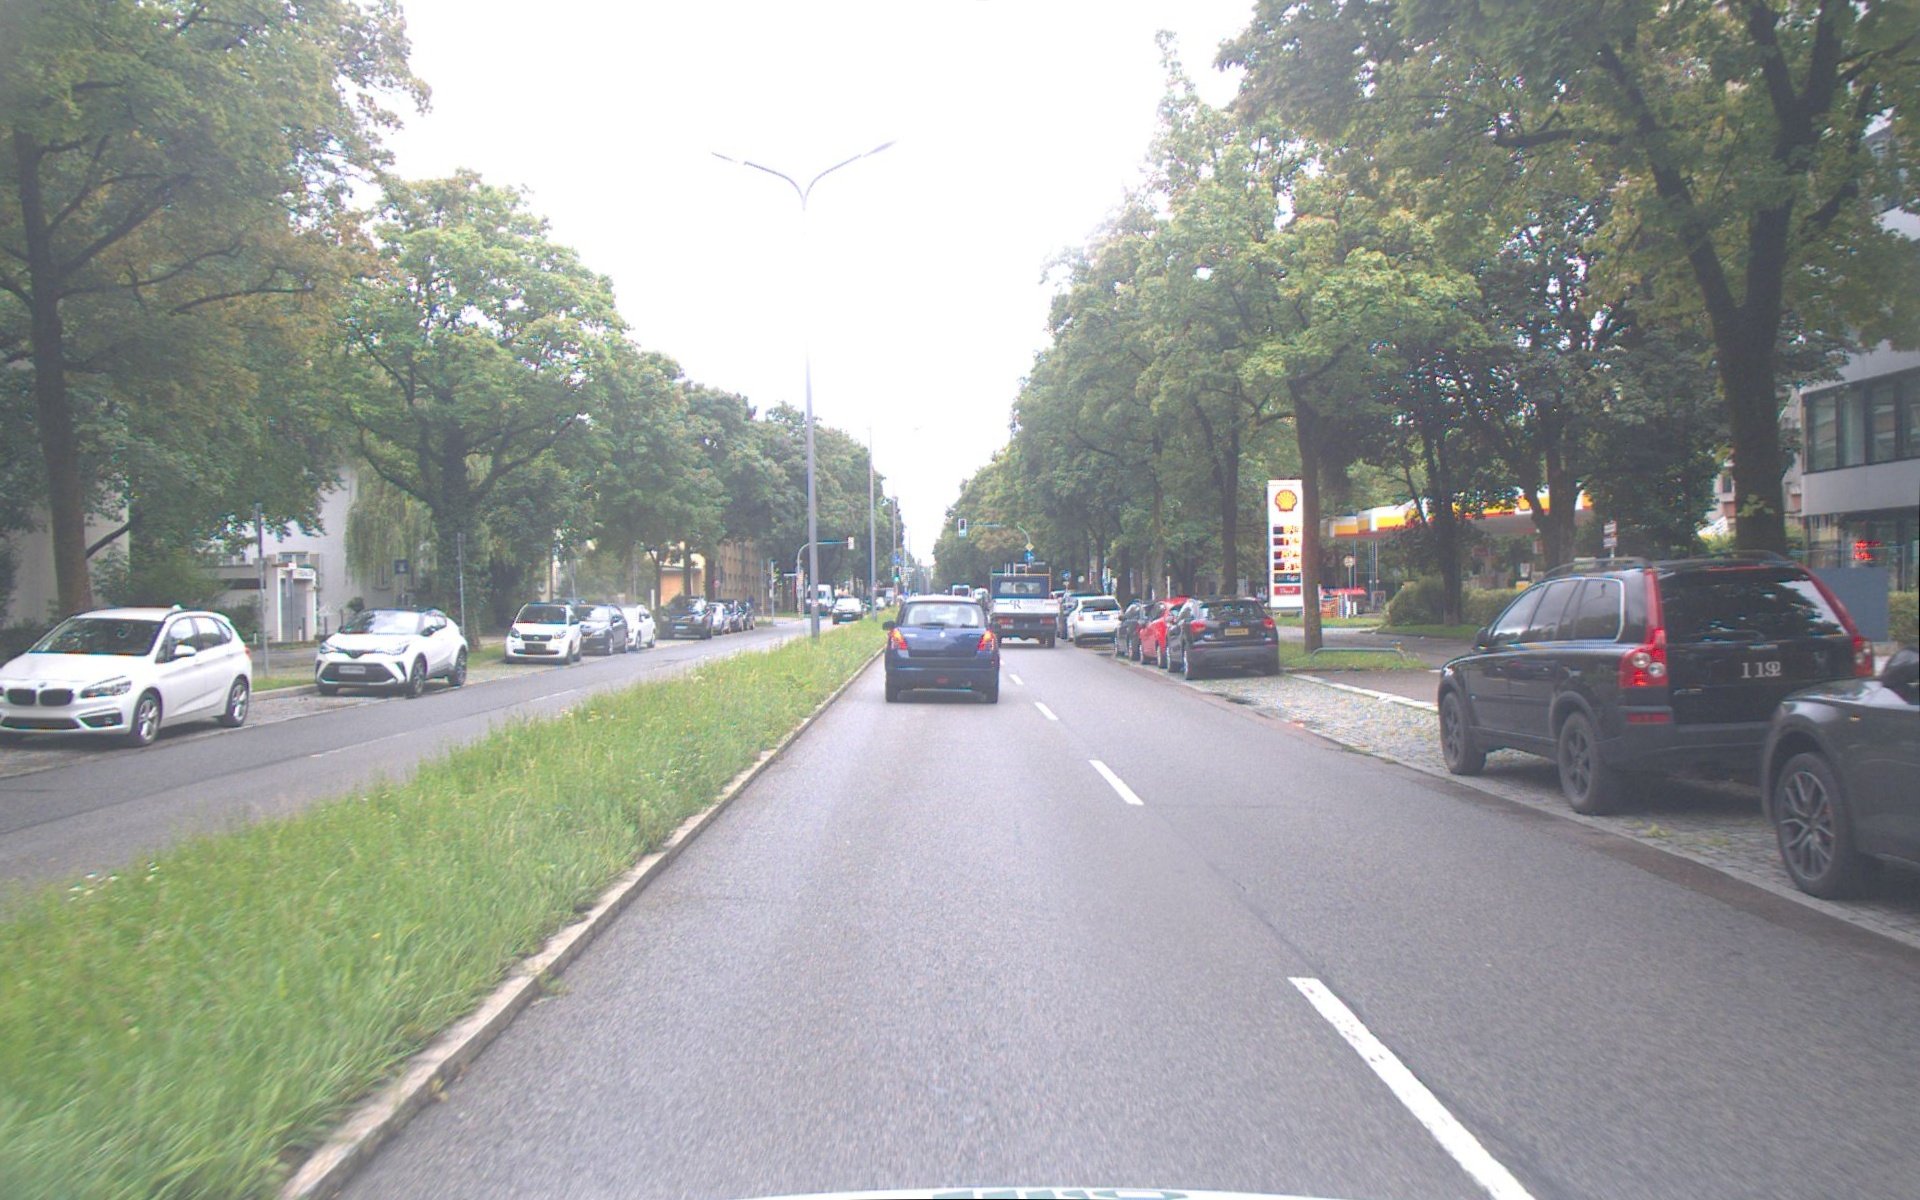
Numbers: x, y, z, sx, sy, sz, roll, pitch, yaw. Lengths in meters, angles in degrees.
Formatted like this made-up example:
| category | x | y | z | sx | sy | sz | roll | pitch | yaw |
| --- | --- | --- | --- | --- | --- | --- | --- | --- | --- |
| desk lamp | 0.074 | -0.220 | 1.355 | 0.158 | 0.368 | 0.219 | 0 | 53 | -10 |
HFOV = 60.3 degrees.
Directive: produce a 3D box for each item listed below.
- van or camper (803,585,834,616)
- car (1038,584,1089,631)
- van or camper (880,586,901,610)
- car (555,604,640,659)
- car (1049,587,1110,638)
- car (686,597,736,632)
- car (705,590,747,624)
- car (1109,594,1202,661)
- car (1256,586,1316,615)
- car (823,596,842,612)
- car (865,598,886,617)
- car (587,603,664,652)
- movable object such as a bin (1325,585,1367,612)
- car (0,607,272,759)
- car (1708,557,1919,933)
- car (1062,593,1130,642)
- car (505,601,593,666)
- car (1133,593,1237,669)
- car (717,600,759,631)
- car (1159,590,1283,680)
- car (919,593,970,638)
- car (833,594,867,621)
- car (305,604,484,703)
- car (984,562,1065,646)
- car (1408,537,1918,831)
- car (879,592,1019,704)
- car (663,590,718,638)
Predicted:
| category | x | y | z | sx | sy | sz | roll | pitch | yaw |
| --- | --- | --- | --- | --- | --- | --- | --- | --- | --- |
| van or camper | -12.211 | 0.050 | 142.801 | 2.096 | 2.519 | 6.258 | -2 | 0 | -1 |
| car | 4.429 | 0.292 | 71.142 | 1.725 | 1.862 | 4.527 | -3 | 0 | -1 |
| van or camper | -7.047 | -0.240 | 168.593 | 1.982 | 2.300 | 6.020 | -2 | 0 | -2 |
| car | -10.861 | 0.923 | 49.836 | 1.640 | 1.501 | 4.214 | 2 | 0 | -1 |
| car | 4.358 | 0.426 | 61.032 | 1.725 | 1.728 | 5.229 | -3 | 0 | -1 |
| car | -11.226 | 0.615 | 74.891 | 1.632 | 1.470 | 4.374 | 2 | 0 | -1 |
| car | -11.291 | 0.326 | 79.923 | 1.633 | 1.589 | 4.296 | -1 | 0 | -3 |
| car | 4.803 | 0.639 | 41.229 | 1.641 | 1.479 | 4.581 | -3 | 0 | -1 |
| car | 22.589 | 0.036 | 114.687 | 3.799 | 1.638 | 1.934 | -5 | 0 | 6 |
| car | -12.549 | 0.403 | 163.077 | 1.603 | 1.467 | 3.734 | -2 | 0 | -1 |
| car | -7.299 | 0.636 | 142.871 | 1.702 | 1.467 | 4.101 | -2 | 0 | -2 |
| car | -10.958 | 0.865 | 54.466 | 1.640 | 1.468 | 4.319 | 2 | 0 | 0 |
| movable object such as a bin | 22.627 | -0.092 | 96.976 | 2.019 | 1.512 | 1.837 | -1 | 0 | -1 |
| car | -10.433 | 0.949 | 20.858 | 1.722 | 1.622 | 4.488 | 1 | 0 | -2 |
| car | 5.211 | 0.633 | 7.195 | 1.775 | 1.705 | 4.800 | -2 | 0 | 1 |
| car | 4.516 | 0.565 | 55.472 | 1.725 | 1.479 | 4.632 | -3 | 0 | -1 |
| car | -10.878 | 0.866 | 43.945 | 1.657 | 1.593 | 3.078 | 2 | 0 | -3 |
| car | 4.947 | 0.643 | 36.808 | 1.641 | 1.527 | 4.020 | -3 | 0 | -1 |
| car | -11.459 | 0.787 | 85.470 | 1.532 | 1.475 | 3.838 | 2 | 0 | 1 |
| car | 5.027 | 0.630 | 32.348 | 1.743 | 1.537 | 4.285 | -3 | 0 | 1 |
| car | -0.546 | 0.530 | 59.113 | 1.762 | 1.525 | 3.660 | -1 | 0 | 0 |
| car | -6.332 | 0.434 | 95.437 | 1.703 | 1.465 | 4.214 | -2 | 0 | -1 |
| car | -10.463 | 0.932 | 30.959 | 1.795 | 1.637 | 4.491 | 1 | 0 | 0 |
| car | 1.929 | 0.104 | 51.310 | 2.369 | 2.487 | 5.087 | 0 | 0 | 1 |
| car | 5.198 | 0.526 | 13.109 | 1.854 | 1.831 | 4.860 | -2 | 0 | -1 |
| car | -0.239 | 0.661 | 24.806 | 1.859 | 1.525 | 3.657 | 1 | 0 | -4 |
| car | -11.020 | 0.542 | 67.930 | 1.761 | 1.794 | 5.053 | 2 | 0 | -5 |
